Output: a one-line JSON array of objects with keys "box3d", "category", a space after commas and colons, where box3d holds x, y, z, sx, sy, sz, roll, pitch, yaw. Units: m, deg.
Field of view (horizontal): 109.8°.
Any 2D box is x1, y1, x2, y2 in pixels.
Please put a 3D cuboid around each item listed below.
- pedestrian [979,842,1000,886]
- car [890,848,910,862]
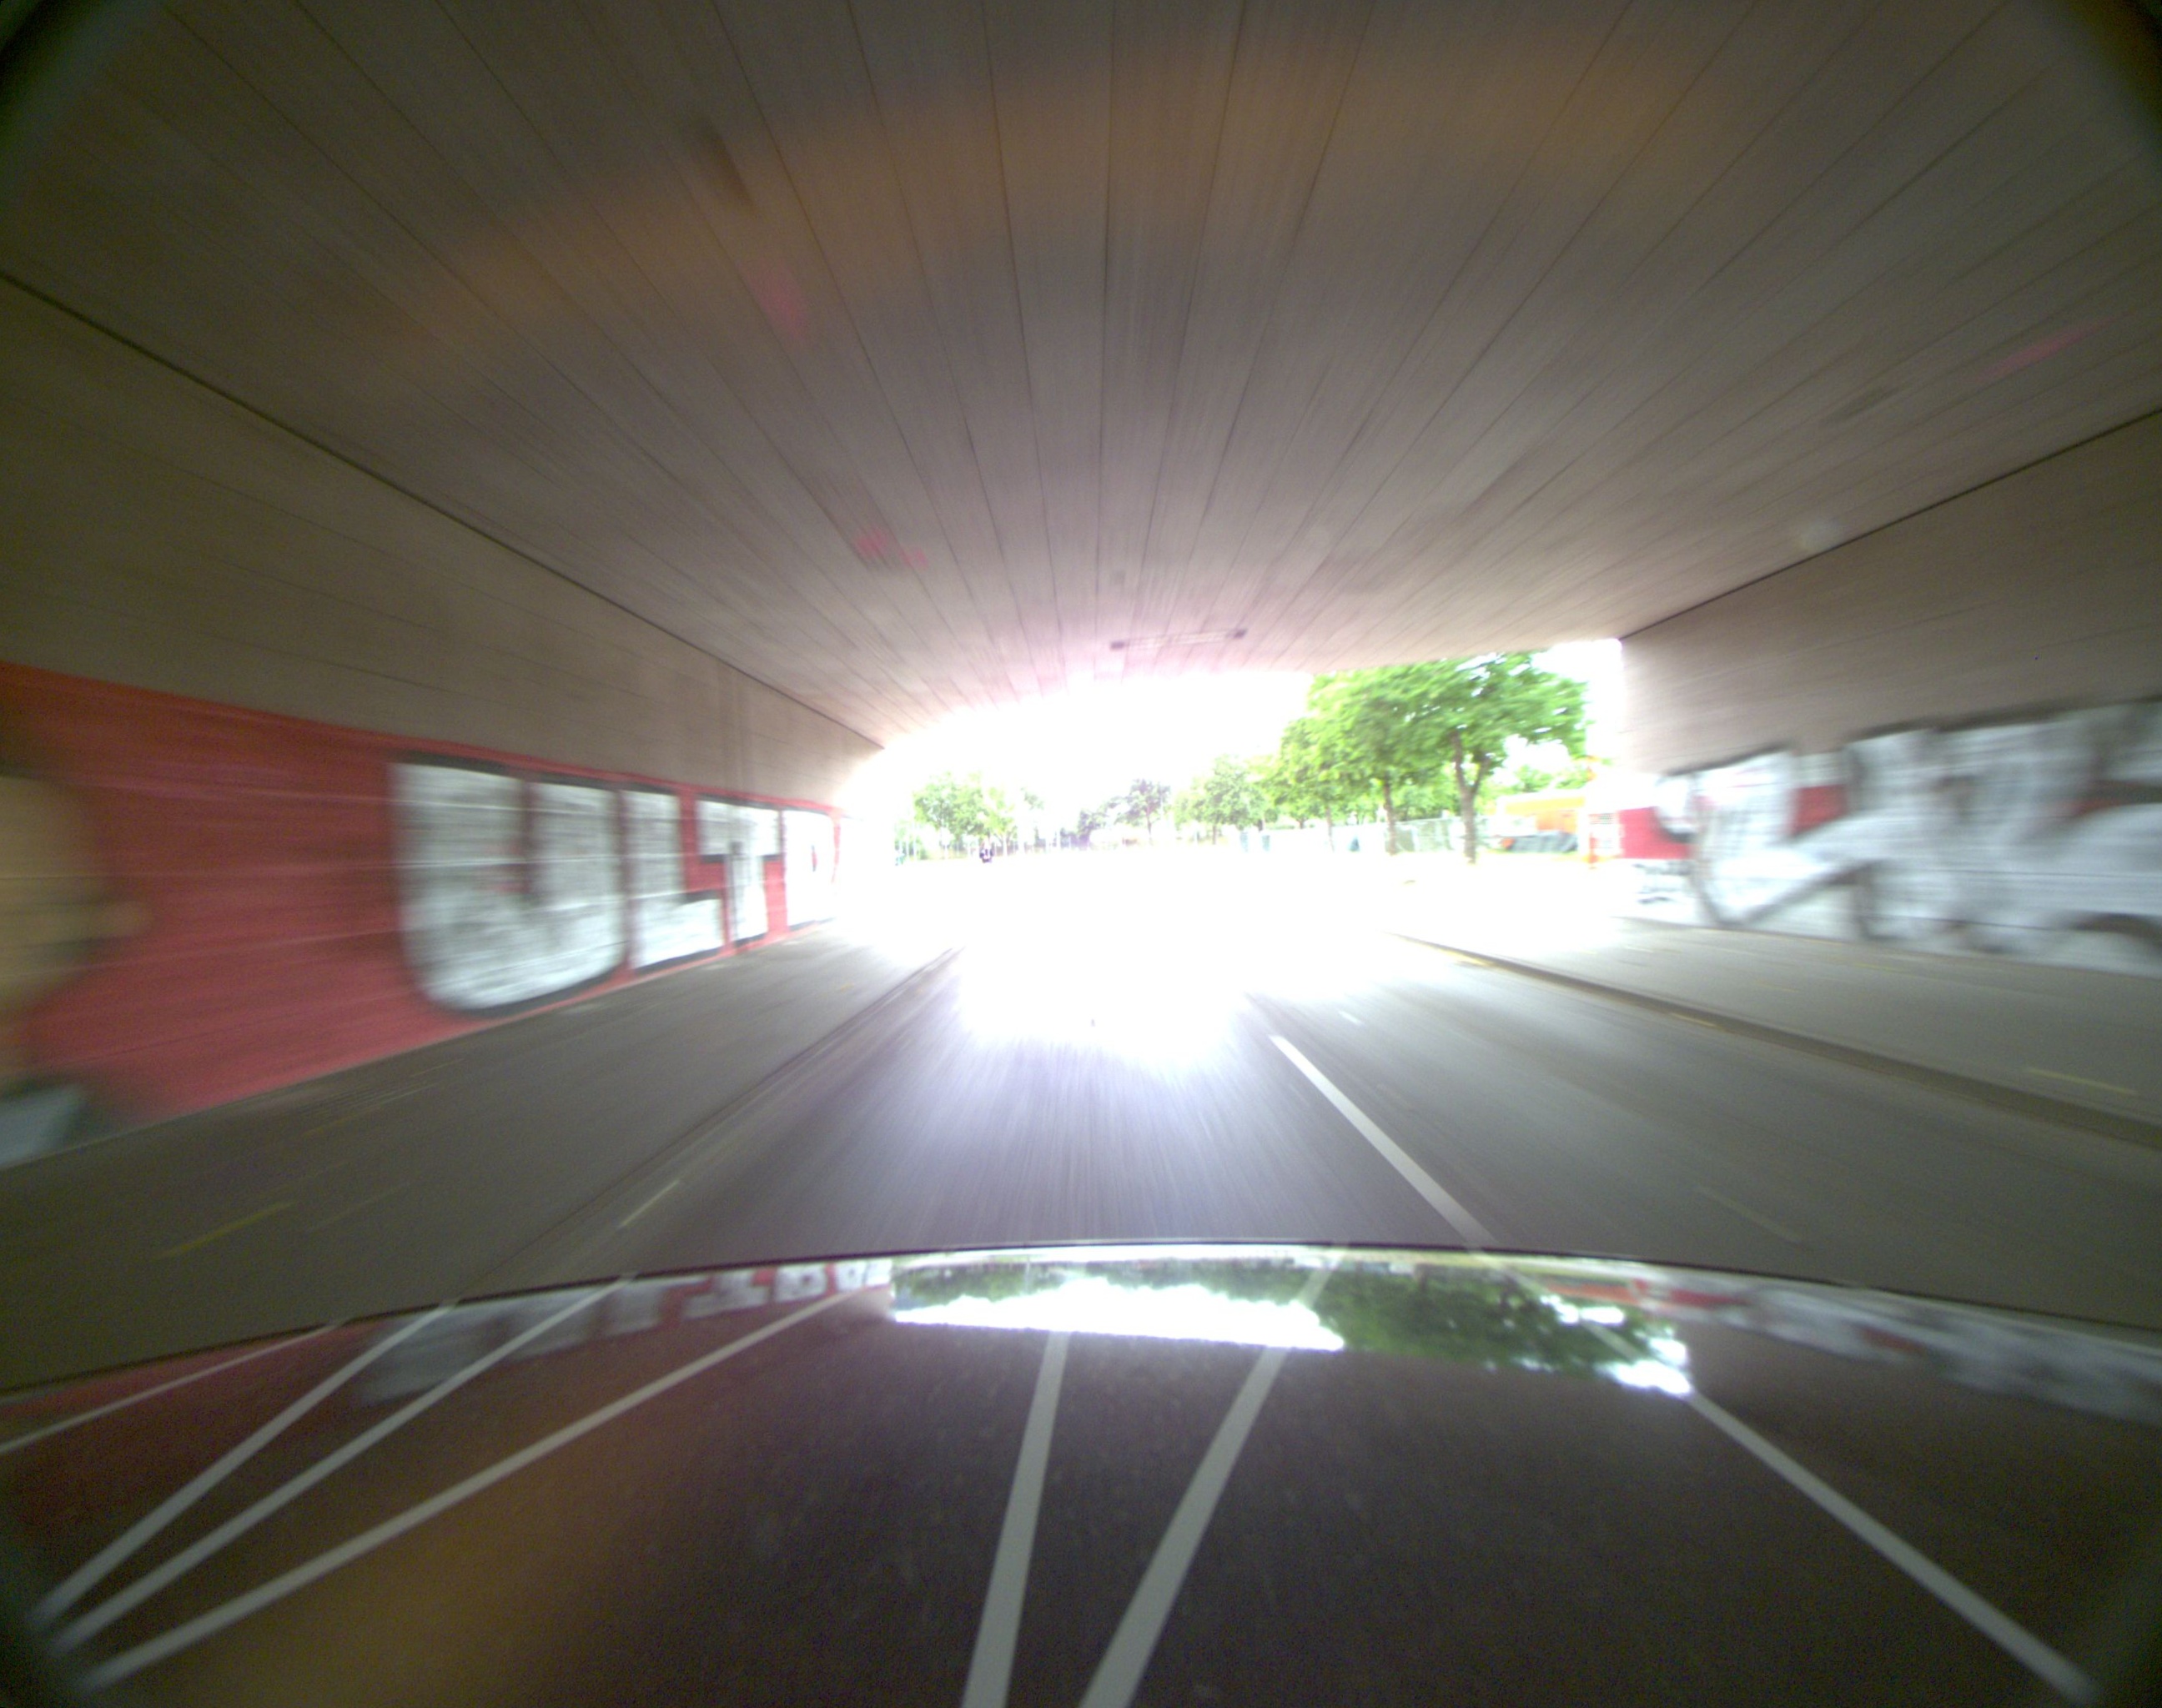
[{"box3d": [-3.987, 0.409, 33.102, 0.822, 1.869, 1.179, 0, 1, -11], "category": "pedestrian"}, {"box3d": [-17.202, 0.085, 72.415, 1.628, 1.231, 4.054, -3, 1, -11], "category": "car"}]
